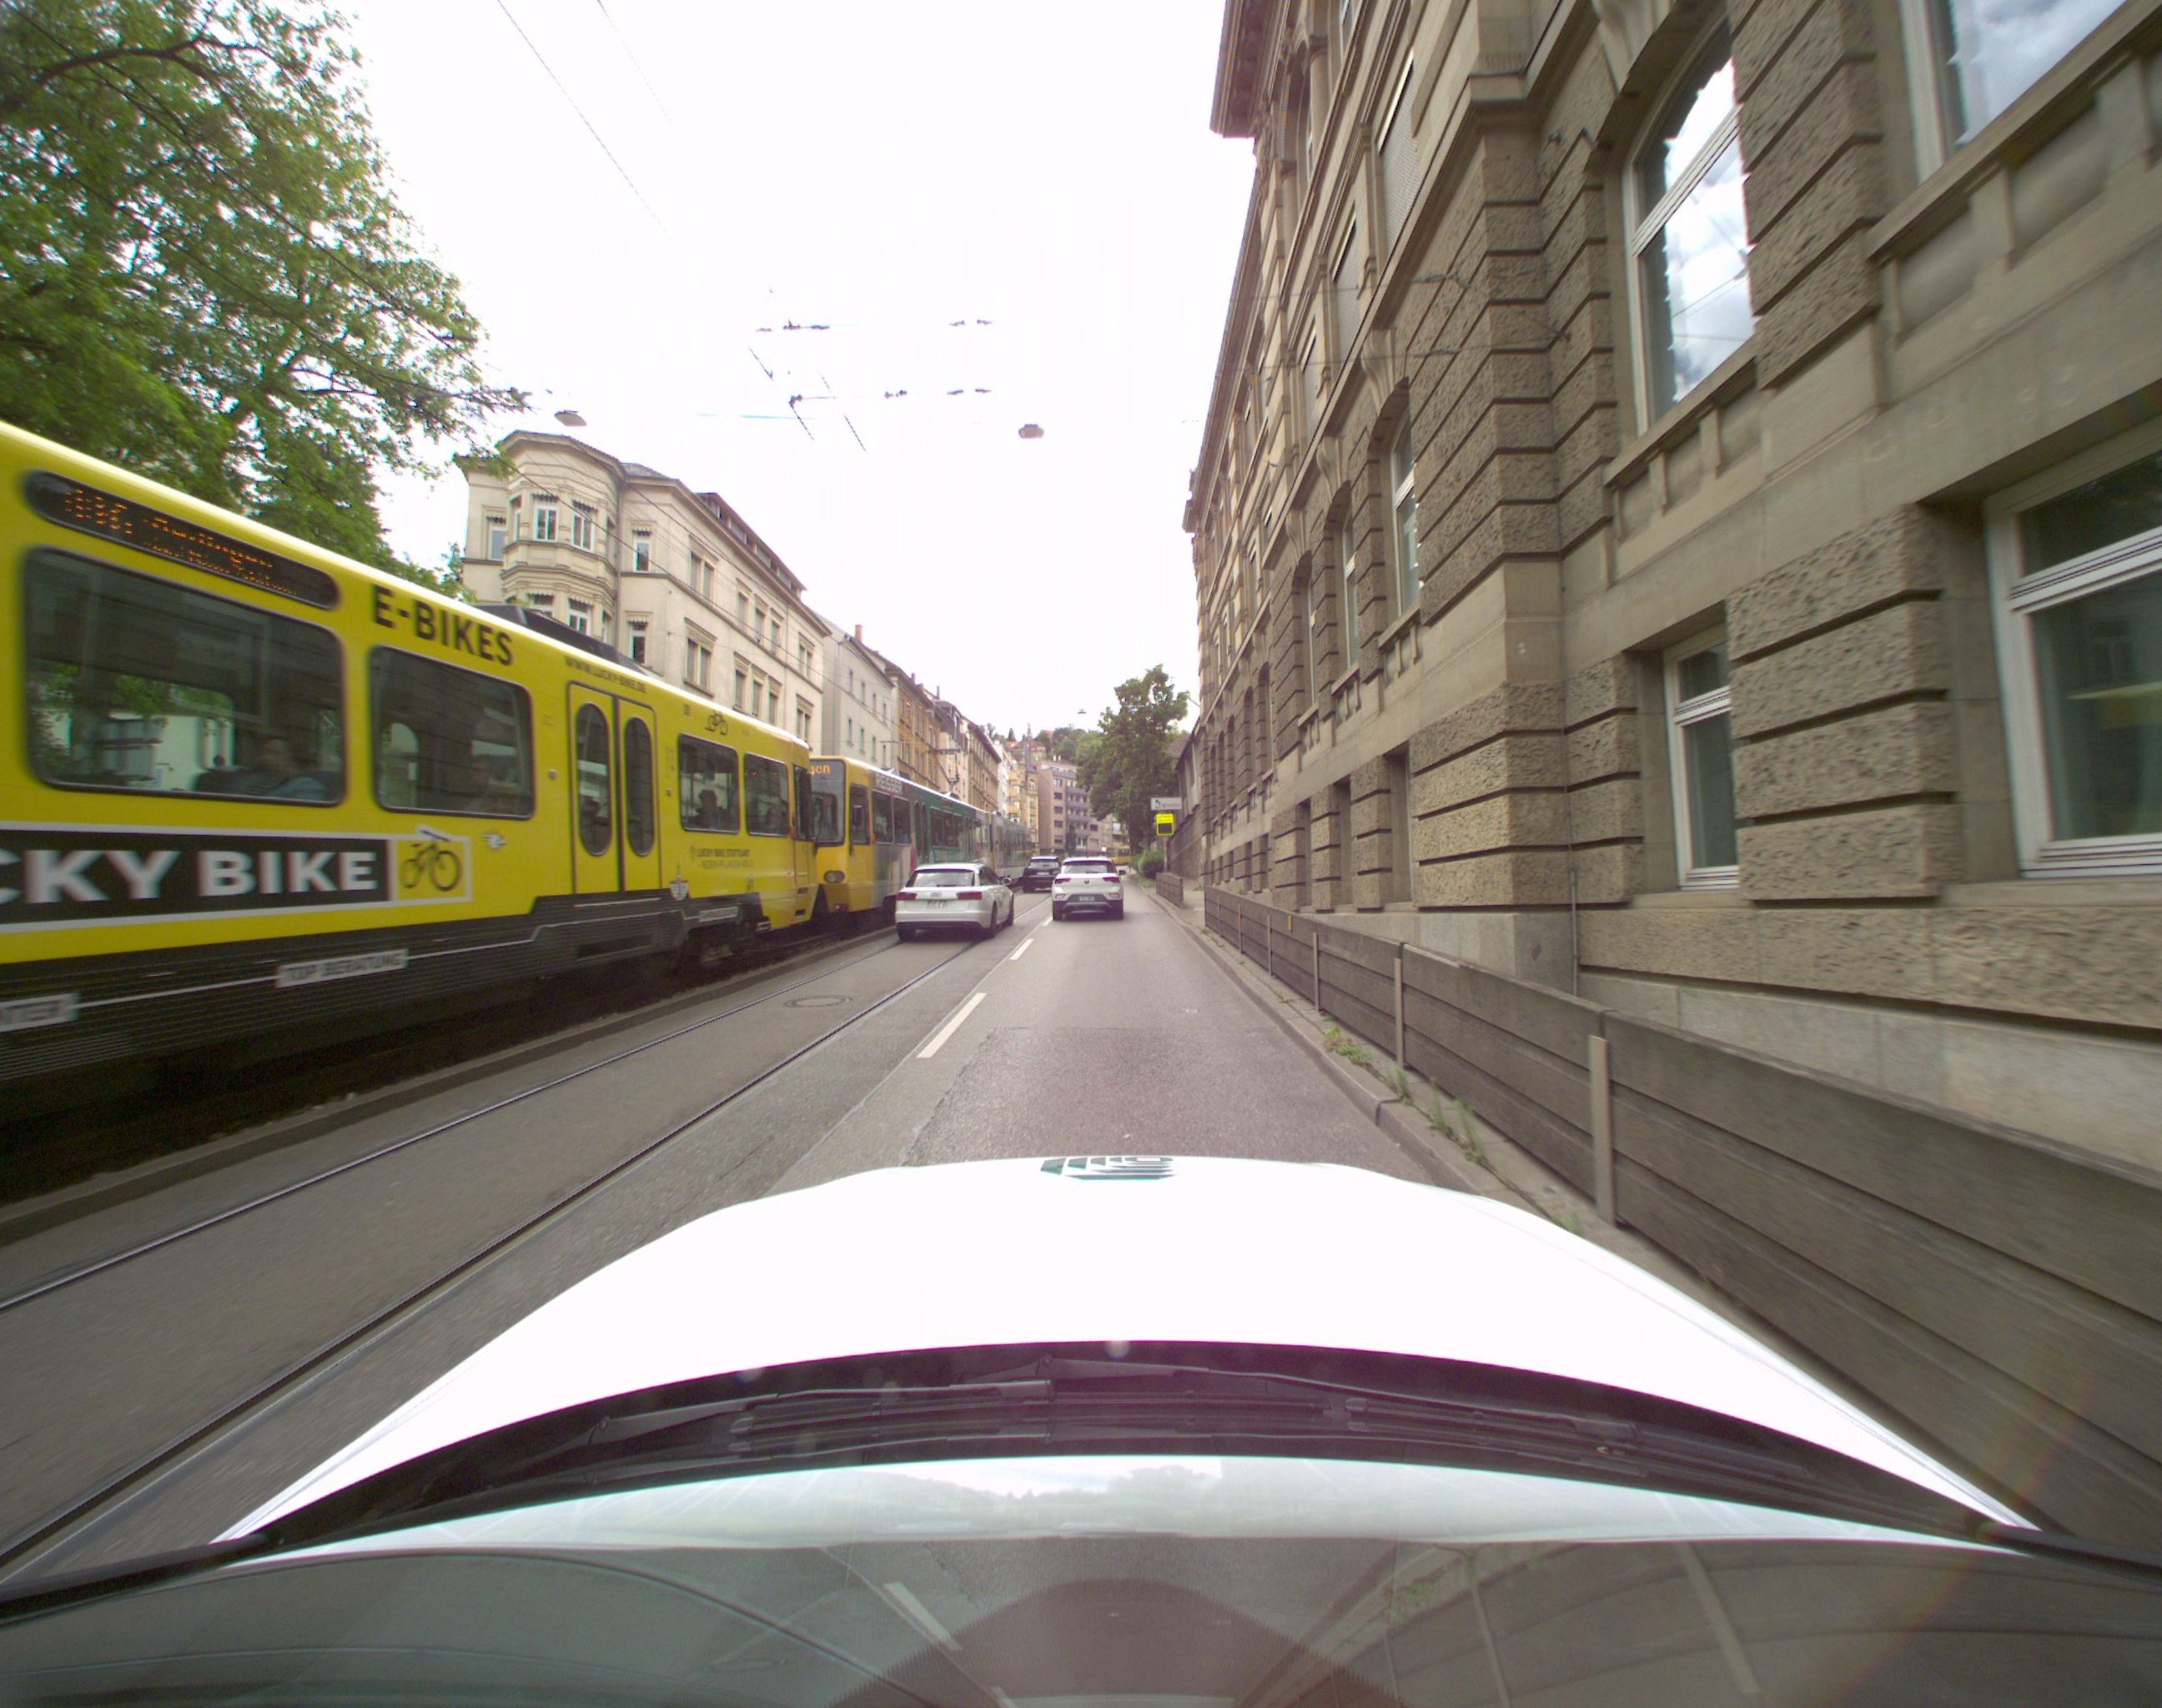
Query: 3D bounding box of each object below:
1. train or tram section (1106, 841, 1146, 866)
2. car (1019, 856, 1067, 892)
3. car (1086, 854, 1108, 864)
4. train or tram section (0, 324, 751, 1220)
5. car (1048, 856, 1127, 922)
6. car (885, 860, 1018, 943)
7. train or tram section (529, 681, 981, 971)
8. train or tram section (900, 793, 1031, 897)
[{"bbox_3d":[8.498,-0.063,151.102,2.993,4.214,18.941,-1,0,17],"label":"train or tram section"},{"bbox_3d":[-1.727,0.883,38.181,2.031,1.571,4.357,-1,0,0],"label":"car"},{"bbox_3d":[3.206,1.068,165.905,1.974,2.035,4.731,-1,0,40],"label":"car"},{"bbox_3d":[-5.998,-0.357,1.154,2.865,3.726,18.709,1,0,2],"label":"train or tram section"},{"bbox_3d":[0.208,0.843,21.439,1.872,1.554,4.001,-1,0,2],"label":"car"},{"bbox_3d":[-2.511,0.880,16.968,1.872,1.455,4.619,-1,-1,2],"label":"car"},{"bbox_3d":[-5.392,-0.356,19.978,2.865,3.726,18.765,1,0,2],"label":"train or tram section"},{"bbox_3d":[-4.741,-0.306,38.775,2.865,3.726,18.764,1,0,2],"label":"train or tram section"}]
